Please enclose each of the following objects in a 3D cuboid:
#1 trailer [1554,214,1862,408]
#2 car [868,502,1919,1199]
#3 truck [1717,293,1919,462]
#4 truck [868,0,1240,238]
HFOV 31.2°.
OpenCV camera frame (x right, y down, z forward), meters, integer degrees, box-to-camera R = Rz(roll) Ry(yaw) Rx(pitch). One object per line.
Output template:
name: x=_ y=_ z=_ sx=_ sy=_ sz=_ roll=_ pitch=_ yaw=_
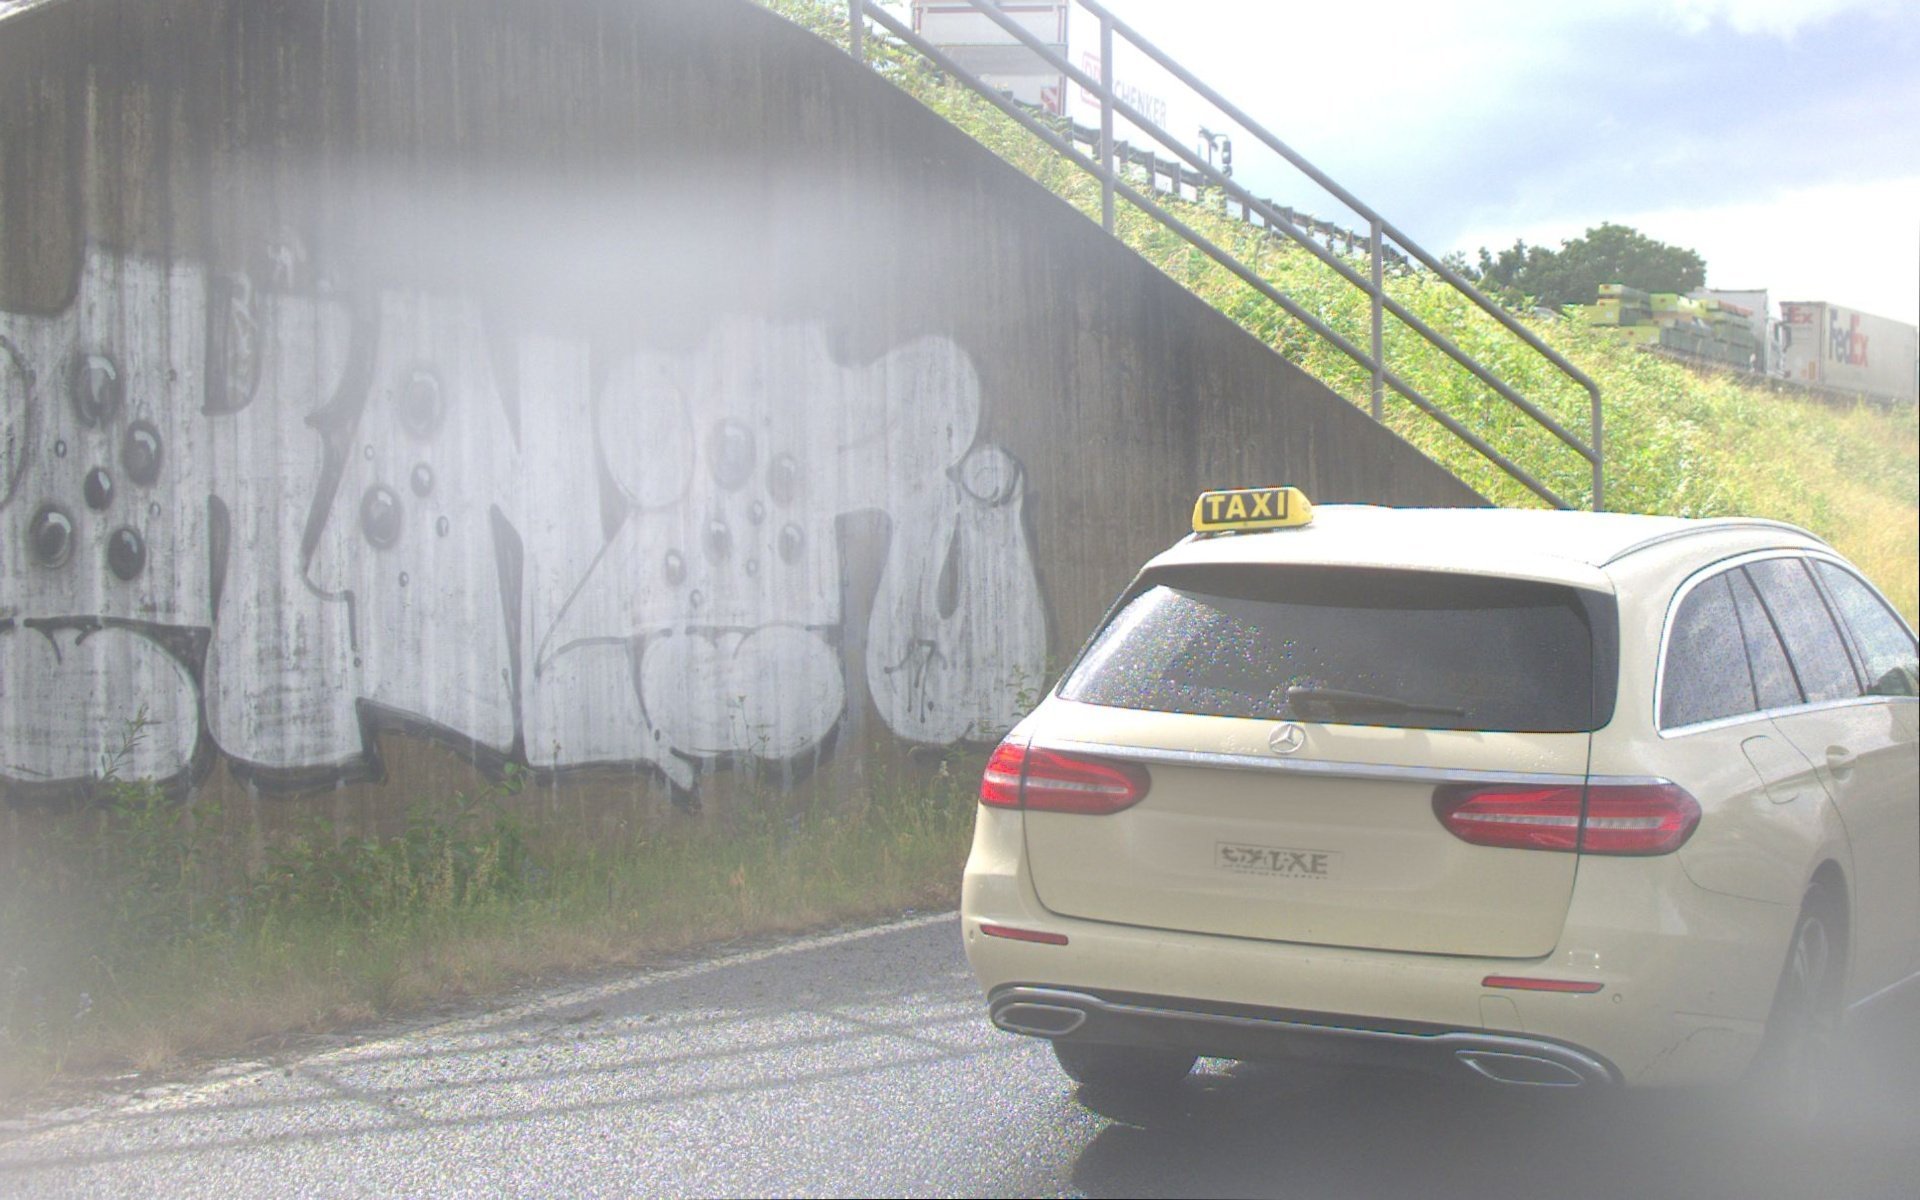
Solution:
trailer: x=22.831 y=-8.392 z=103.273 sx=4.419 sy=3.942 sz=20.189 roll=2 pitch=0 yaw=26
car: x=1.664 y=0.492 z=9.151 sx=1.919 sy=1.502 sz=4.590 roll=1 pitch=2 yaw=26
truck: x=31.161 y=-7.595 z=120.901 sx=4.466 sy=4.488 sz=19.349 roll=2 pitch=0 yaw=25
truck: x=1.716 y=-8.318 z=55.244 sx=3.183 sy=3.953 sz=9.227 roll=2 pitch=0 yaw=20
